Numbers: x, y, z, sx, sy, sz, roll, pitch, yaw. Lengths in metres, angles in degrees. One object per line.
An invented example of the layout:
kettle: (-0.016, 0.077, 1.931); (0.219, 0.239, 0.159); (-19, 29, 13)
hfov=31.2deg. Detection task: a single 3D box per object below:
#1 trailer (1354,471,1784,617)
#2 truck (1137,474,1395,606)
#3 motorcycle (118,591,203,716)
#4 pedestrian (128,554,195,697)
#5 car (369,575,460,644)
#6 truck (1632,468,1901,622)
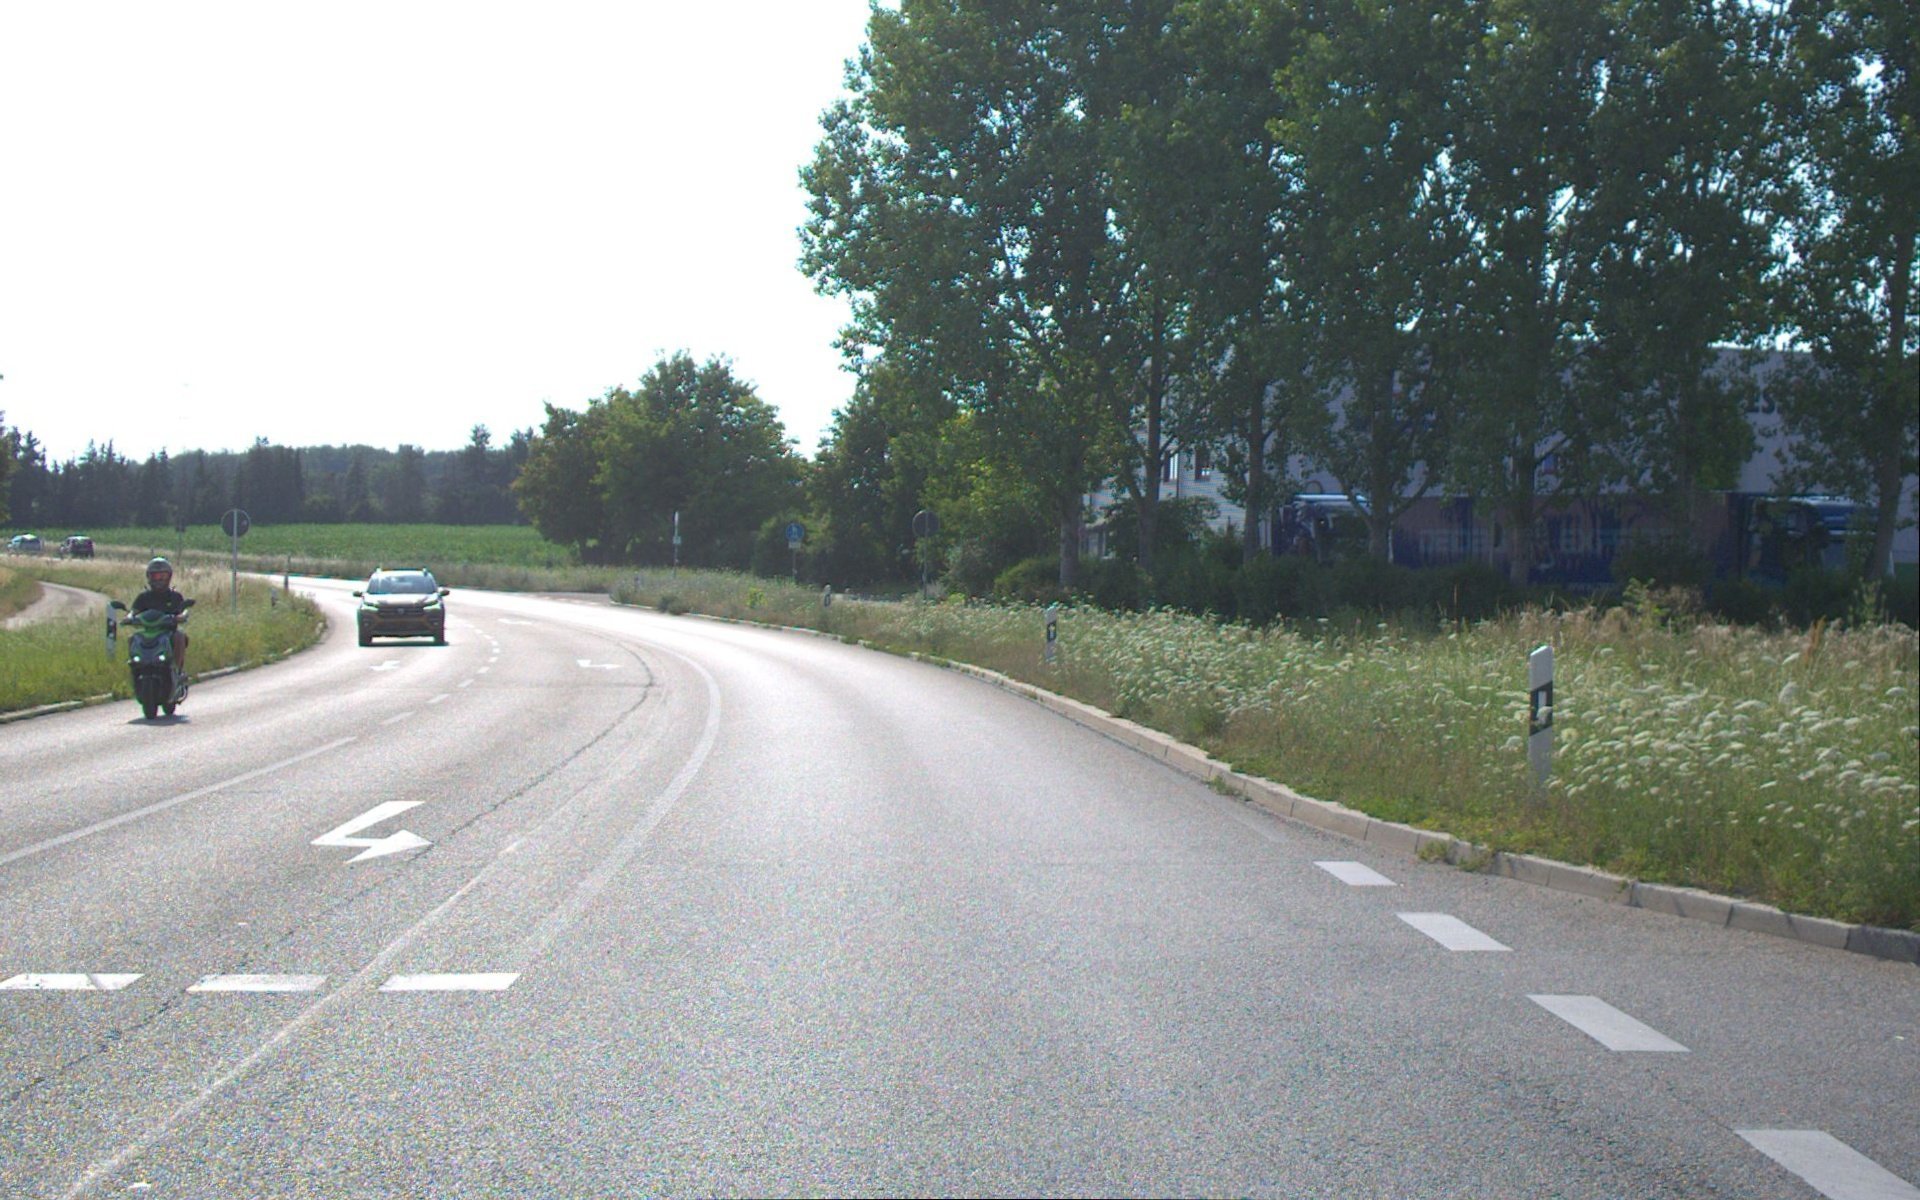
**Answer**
trailer: (14.558, -1.302, 84.034); (2.683, 3.131, 13.272); (4, -2, -27)
truck: (8.526, -1.751, 97.276); (2.511, 3.365, 9.687); (4, 0, -25)
motorcycle: (-8.516, 0.553, 36.674); (0.585, 1.256, 2.121); (1, 1, -5)
pedestrian: (-8.512, 0.264, 36.661); (0.565, 1.500, 0.865); (1, 1, -5)
car: (-11.388, 0.178, 71.921); (1.684, 1.344, 4.001); (1, 1, -6)
truck: (18.039, -1.213, 77.226); (2.620, 3.151, 5.710); (4, -1, -28)
